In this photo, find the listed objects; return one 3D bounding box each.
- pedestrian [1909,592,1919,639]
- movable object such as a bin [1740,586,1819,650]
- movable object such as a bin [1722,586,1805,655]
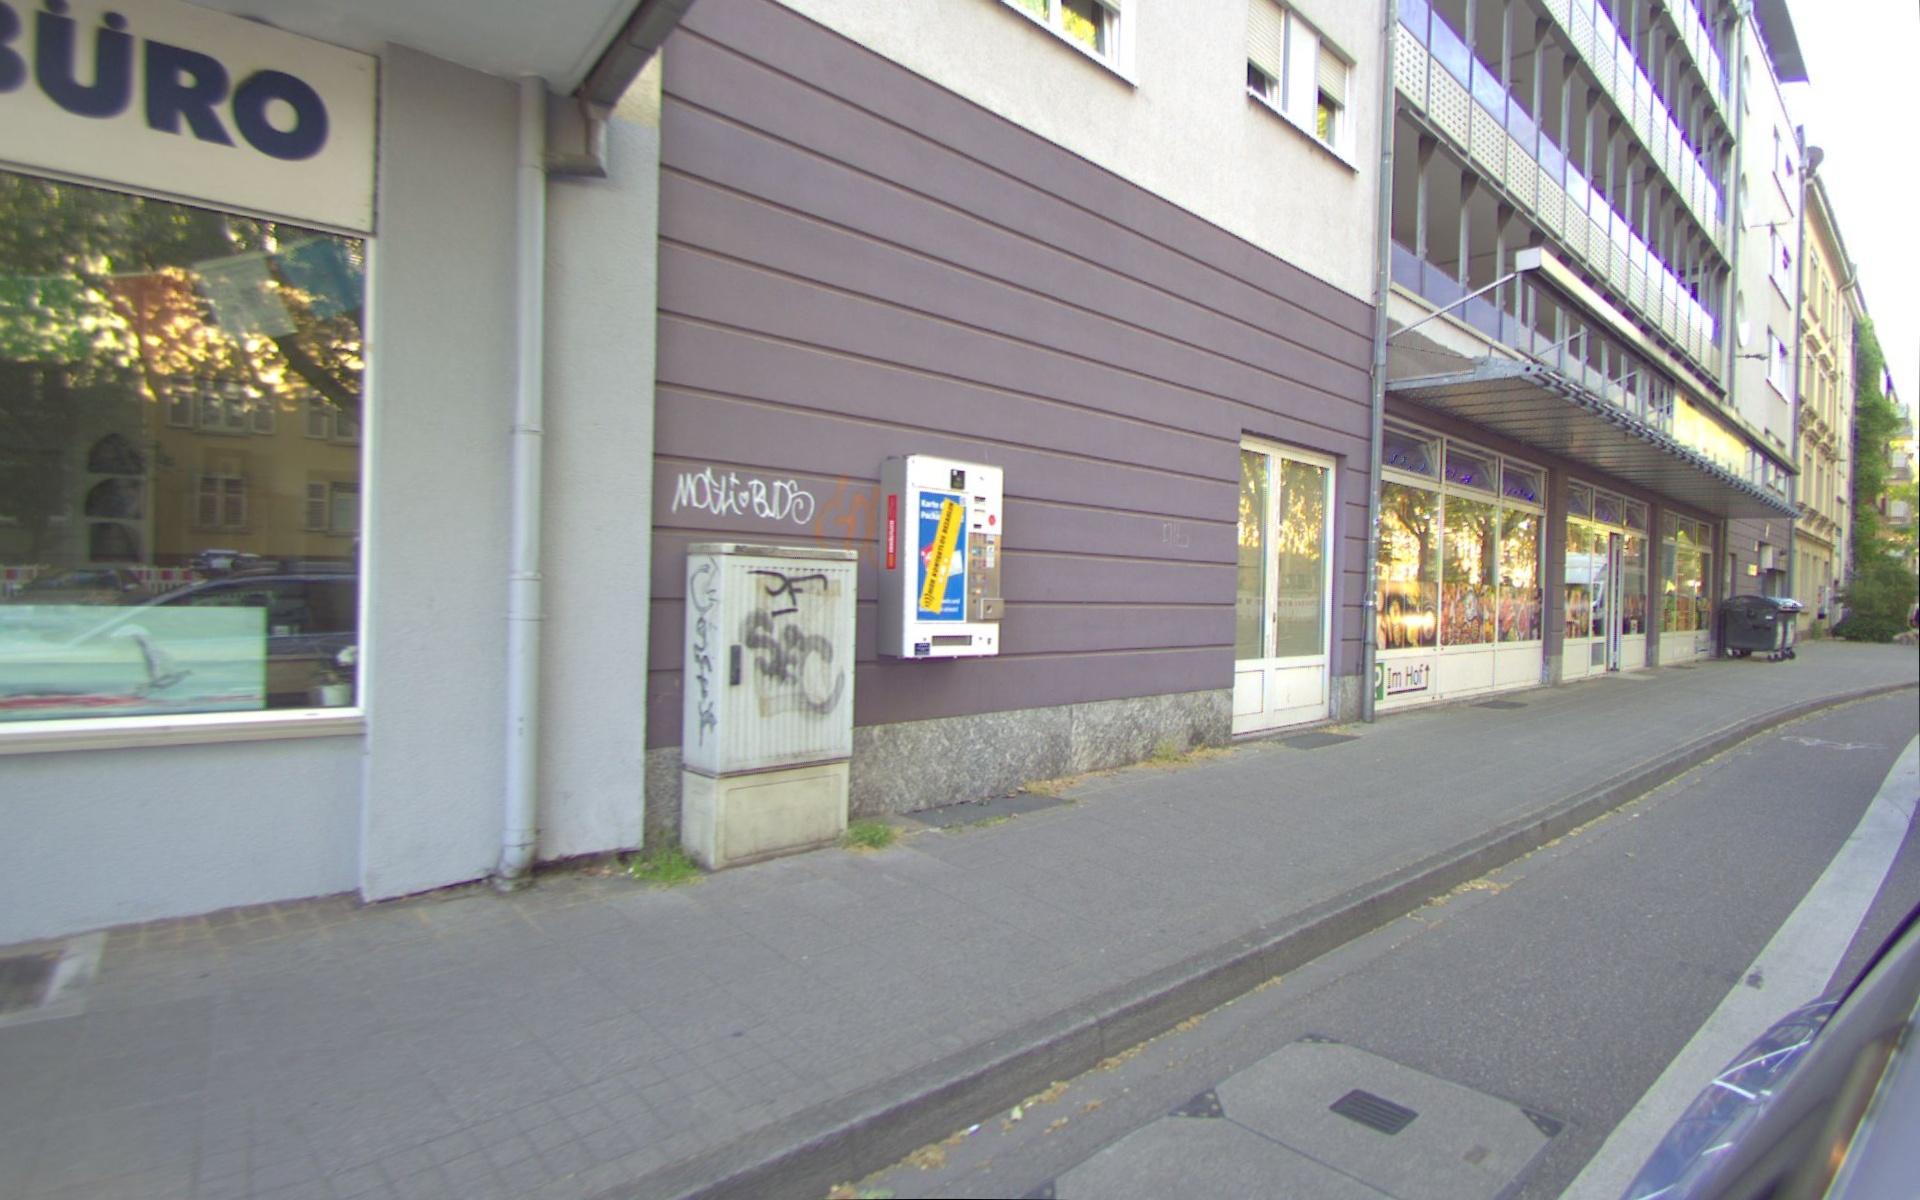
[{"bbox_3d":[34.731,0.555,36.575,0.504,1.693,0.540,1,1,-41],"label":"pedestrian"},{"bbox_3d":[19.252,0.410,23.773,1.348,1.427,1.203,1,1,-41],"label":"movable object such as a bin"},{"bbox_3d":[17.814,0.434,22.432,1.348,1.427,1.203,1,1,-41],"label":"movable object such as a bin"}]
